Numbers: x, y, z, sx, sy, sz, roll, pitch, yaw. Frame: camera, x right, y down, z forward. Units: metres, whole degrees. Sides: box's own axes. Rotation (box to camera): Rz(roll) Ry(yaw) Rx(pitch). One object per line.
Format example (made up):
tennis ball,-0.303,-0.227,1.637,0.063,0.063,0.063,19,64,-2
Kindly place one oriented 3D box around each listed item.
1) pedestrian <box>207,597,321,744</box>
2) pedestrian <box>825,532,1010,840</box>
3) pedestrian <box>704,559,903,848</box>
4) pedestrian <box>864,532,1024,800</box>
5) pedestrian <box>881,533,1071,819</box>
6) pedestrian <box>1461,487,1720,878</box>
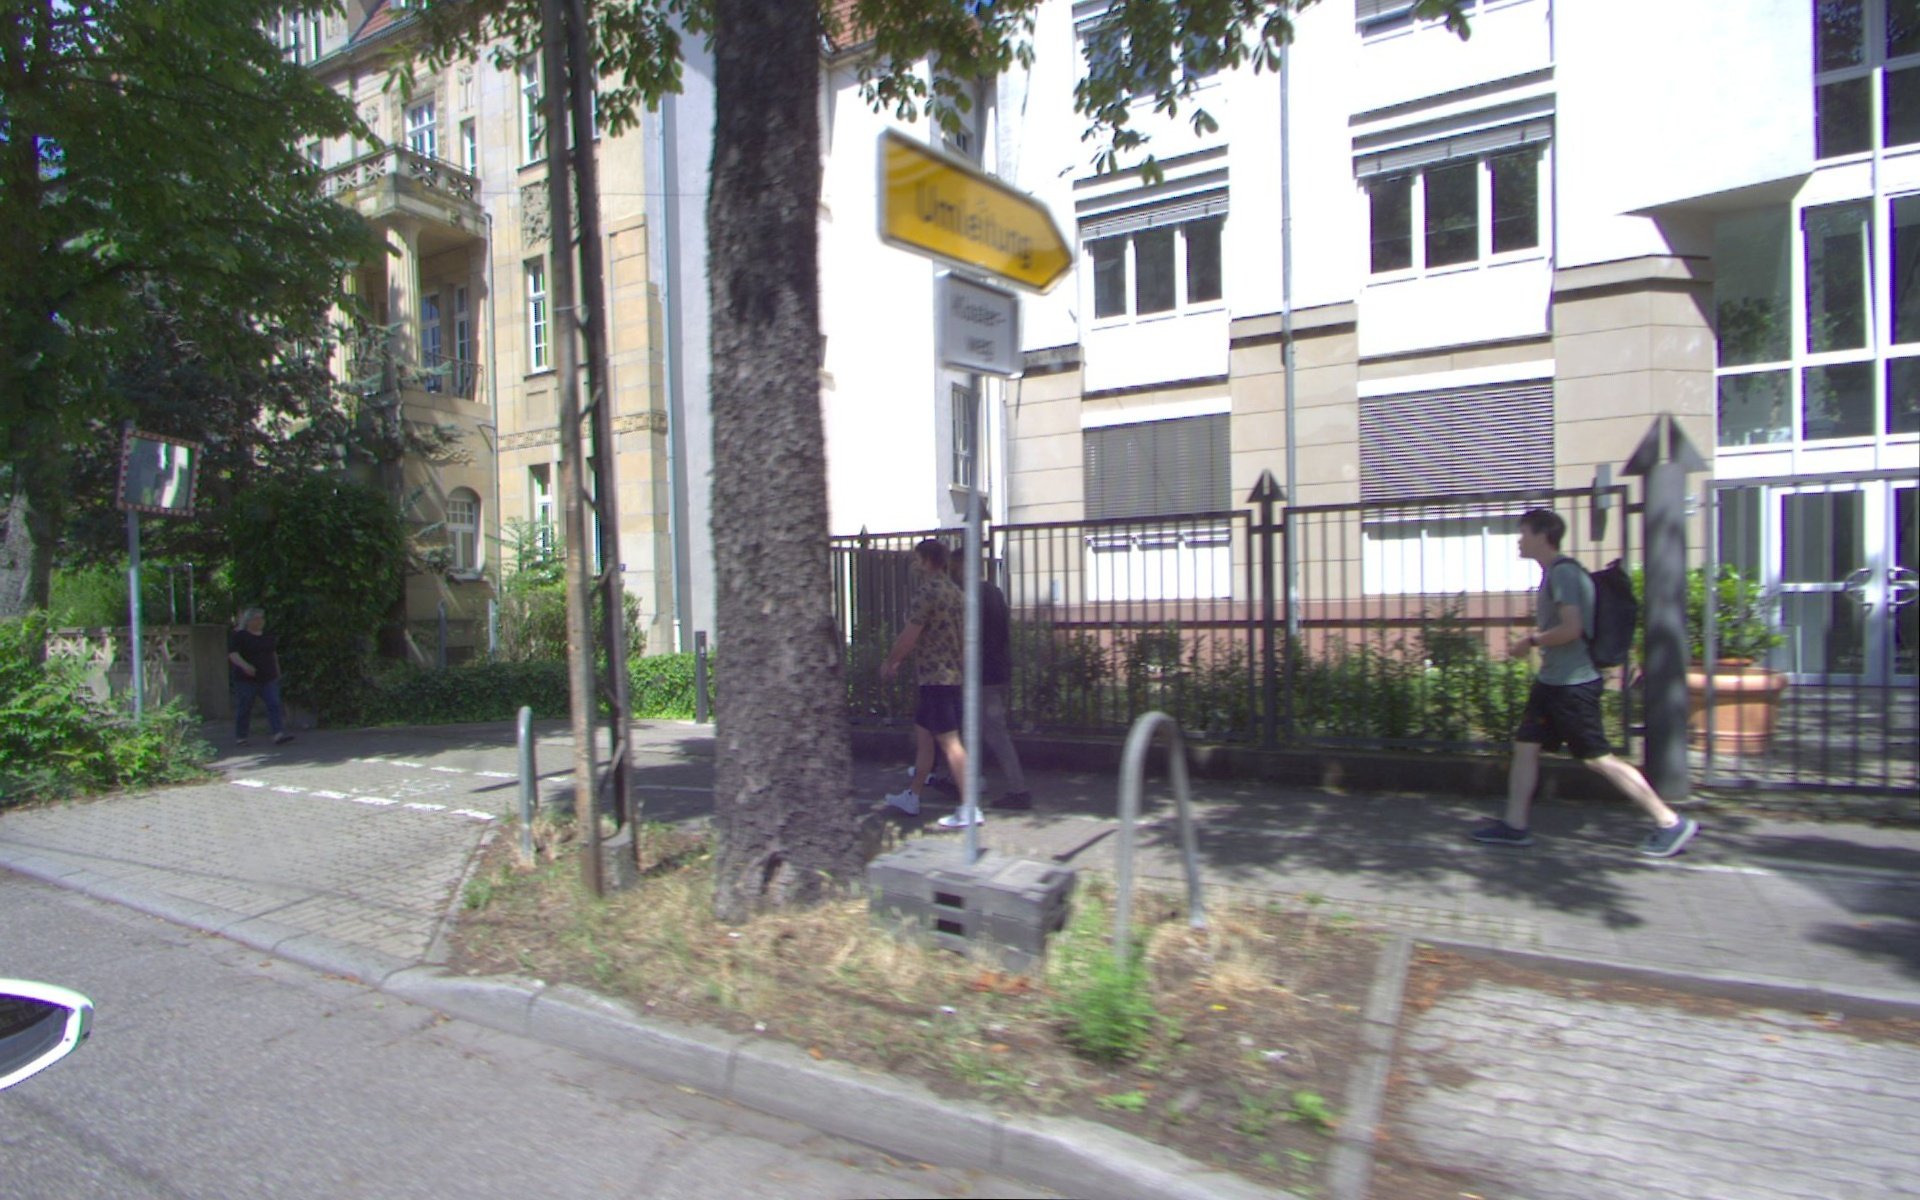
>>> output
pedestrian,-8.334,0.810,12.000,0.825,1.667,0.854,-1,1,34
pedestrian,-0.261,0.512,6.374,0.932,1.800,0.704,-1,1,28
pedestrian,-0.986,0.608,6.373,0.959,1.673,0.765,-1,1,30
pedestrian,-0.111,0.457,7.370,0.962,1.836,0.660,-1,1,29
pedestrian,0.120,0.481,6.828,1.036,1.785,0.787,-1,1,29
pedestrian,3.225,0.393,5.218,1.067,1.821,0.683,-1,1,29
